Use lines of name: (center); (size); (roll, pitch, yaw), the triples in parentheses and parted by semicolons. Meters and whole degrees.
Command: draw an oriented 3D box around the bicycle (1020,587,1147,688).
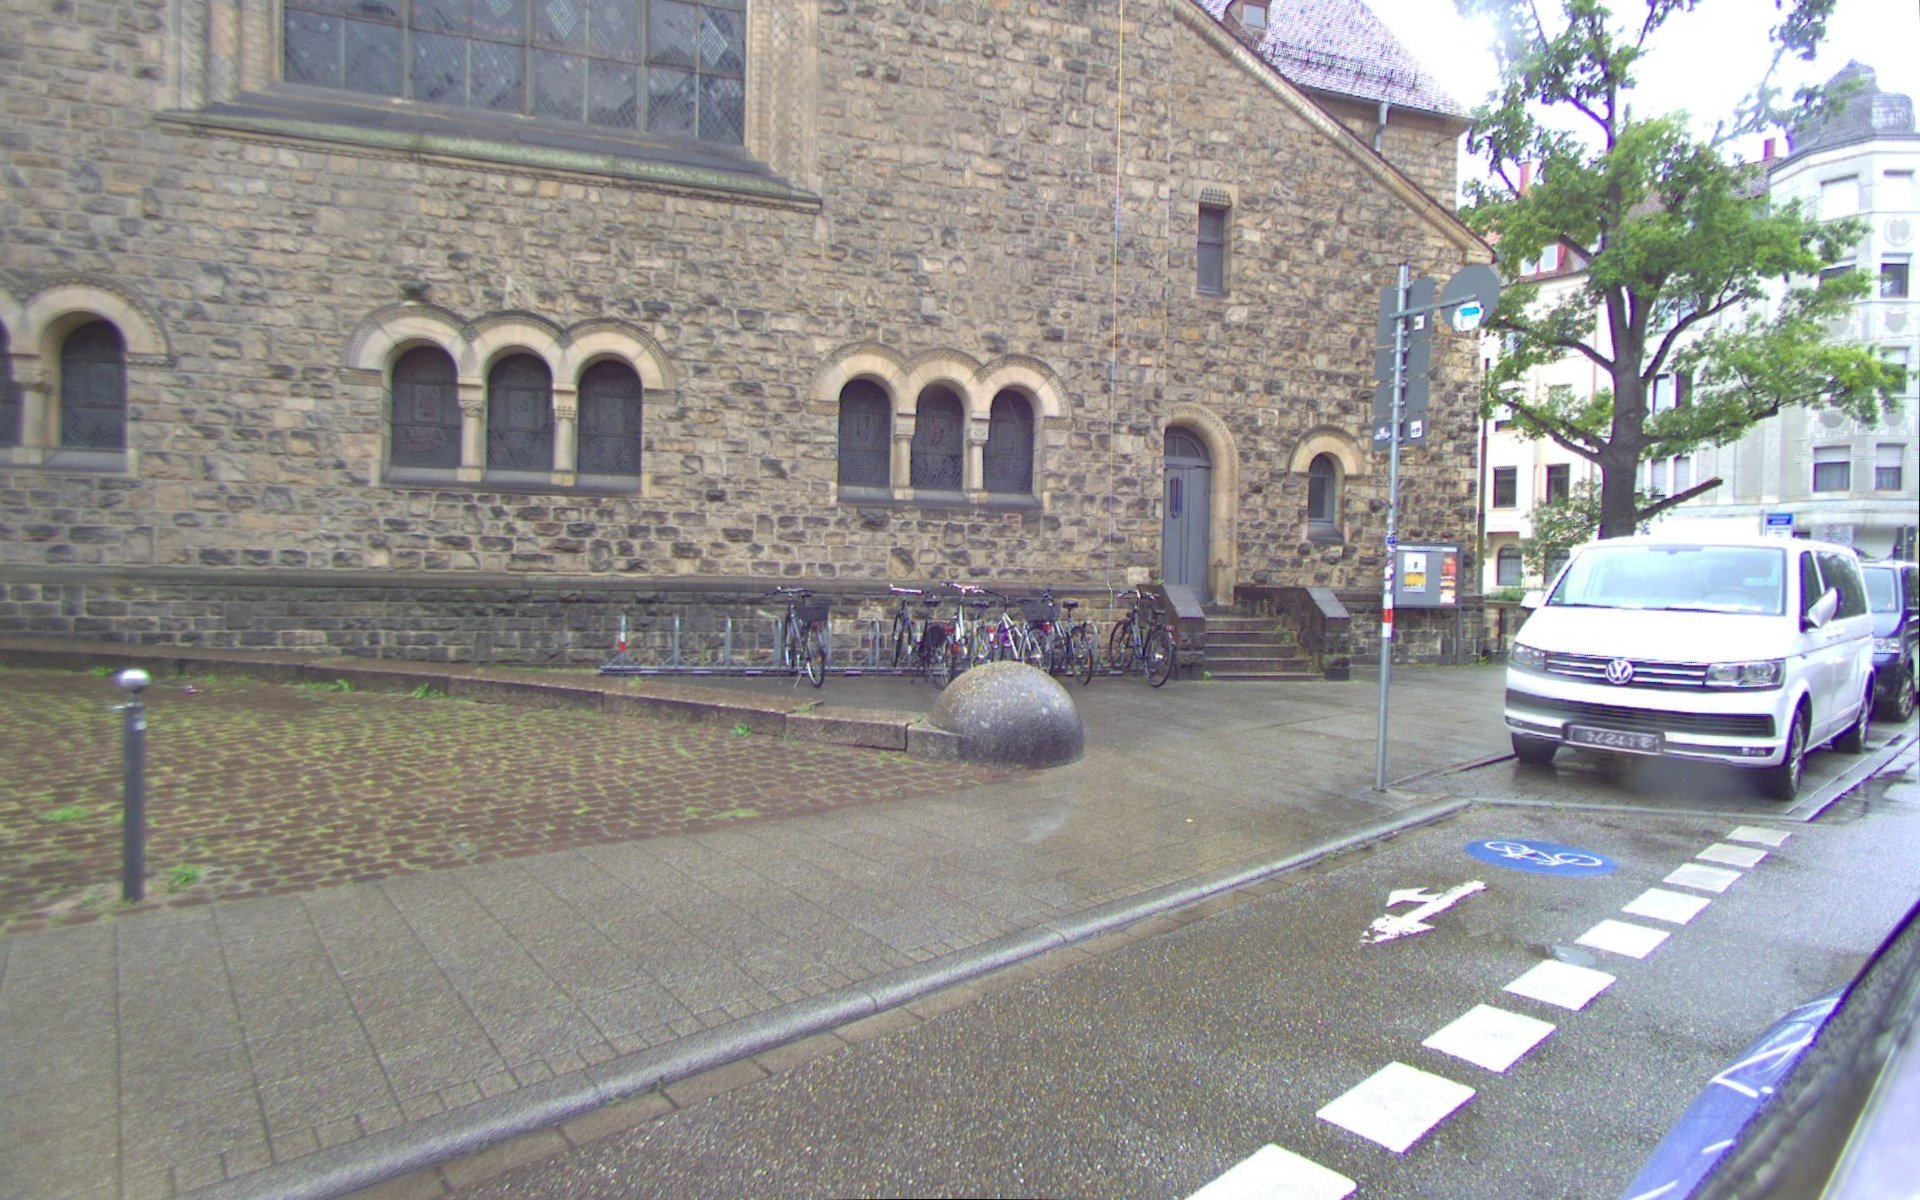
bicycle: (1.464, 0.417, 12.515); (0.663, 1.073, 2.161); (1, 2, -19)

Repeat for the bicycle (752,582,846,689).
bicycle: (-1.883, 0.357, 11.593); (0.564, 1.062, 2.014); (1, 2, -23)

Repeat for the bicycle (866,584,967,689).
bicycle: (-0.552, 0.382, 11.885); (0.569, 1.073, 1.933); (1, 2, -21)

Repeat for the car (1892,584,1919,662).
car: (21.370, 0.493, 21.631); (3.850, 1.568, 1.674); (0, 2, -41)

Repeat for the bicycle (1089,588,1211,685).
bicycle: (2.348, 0.418, 12.780); (0.593, 1.080, 1.987); (1, 2, -18)

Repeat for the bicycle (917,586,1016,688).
bicycle: (0.037, 0.404, 12.182); (0.569, 1.073, 1.933); (1, 2, -19)

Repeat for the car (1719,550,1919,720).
car: (11.673, 0.351, 13.283); (4.220, 1.869, 1.836); (0, 2, -41)

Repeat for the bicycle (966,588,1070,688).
bicycle: (0.671, 0.420, 12.439); (0.569, 1.073, 1.933); (1, 2, -19)

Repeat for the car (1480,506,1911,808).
car: (6.696, 0.326, 8.935); (5.180, 1.946, 1.908); (0, 2, -41)
